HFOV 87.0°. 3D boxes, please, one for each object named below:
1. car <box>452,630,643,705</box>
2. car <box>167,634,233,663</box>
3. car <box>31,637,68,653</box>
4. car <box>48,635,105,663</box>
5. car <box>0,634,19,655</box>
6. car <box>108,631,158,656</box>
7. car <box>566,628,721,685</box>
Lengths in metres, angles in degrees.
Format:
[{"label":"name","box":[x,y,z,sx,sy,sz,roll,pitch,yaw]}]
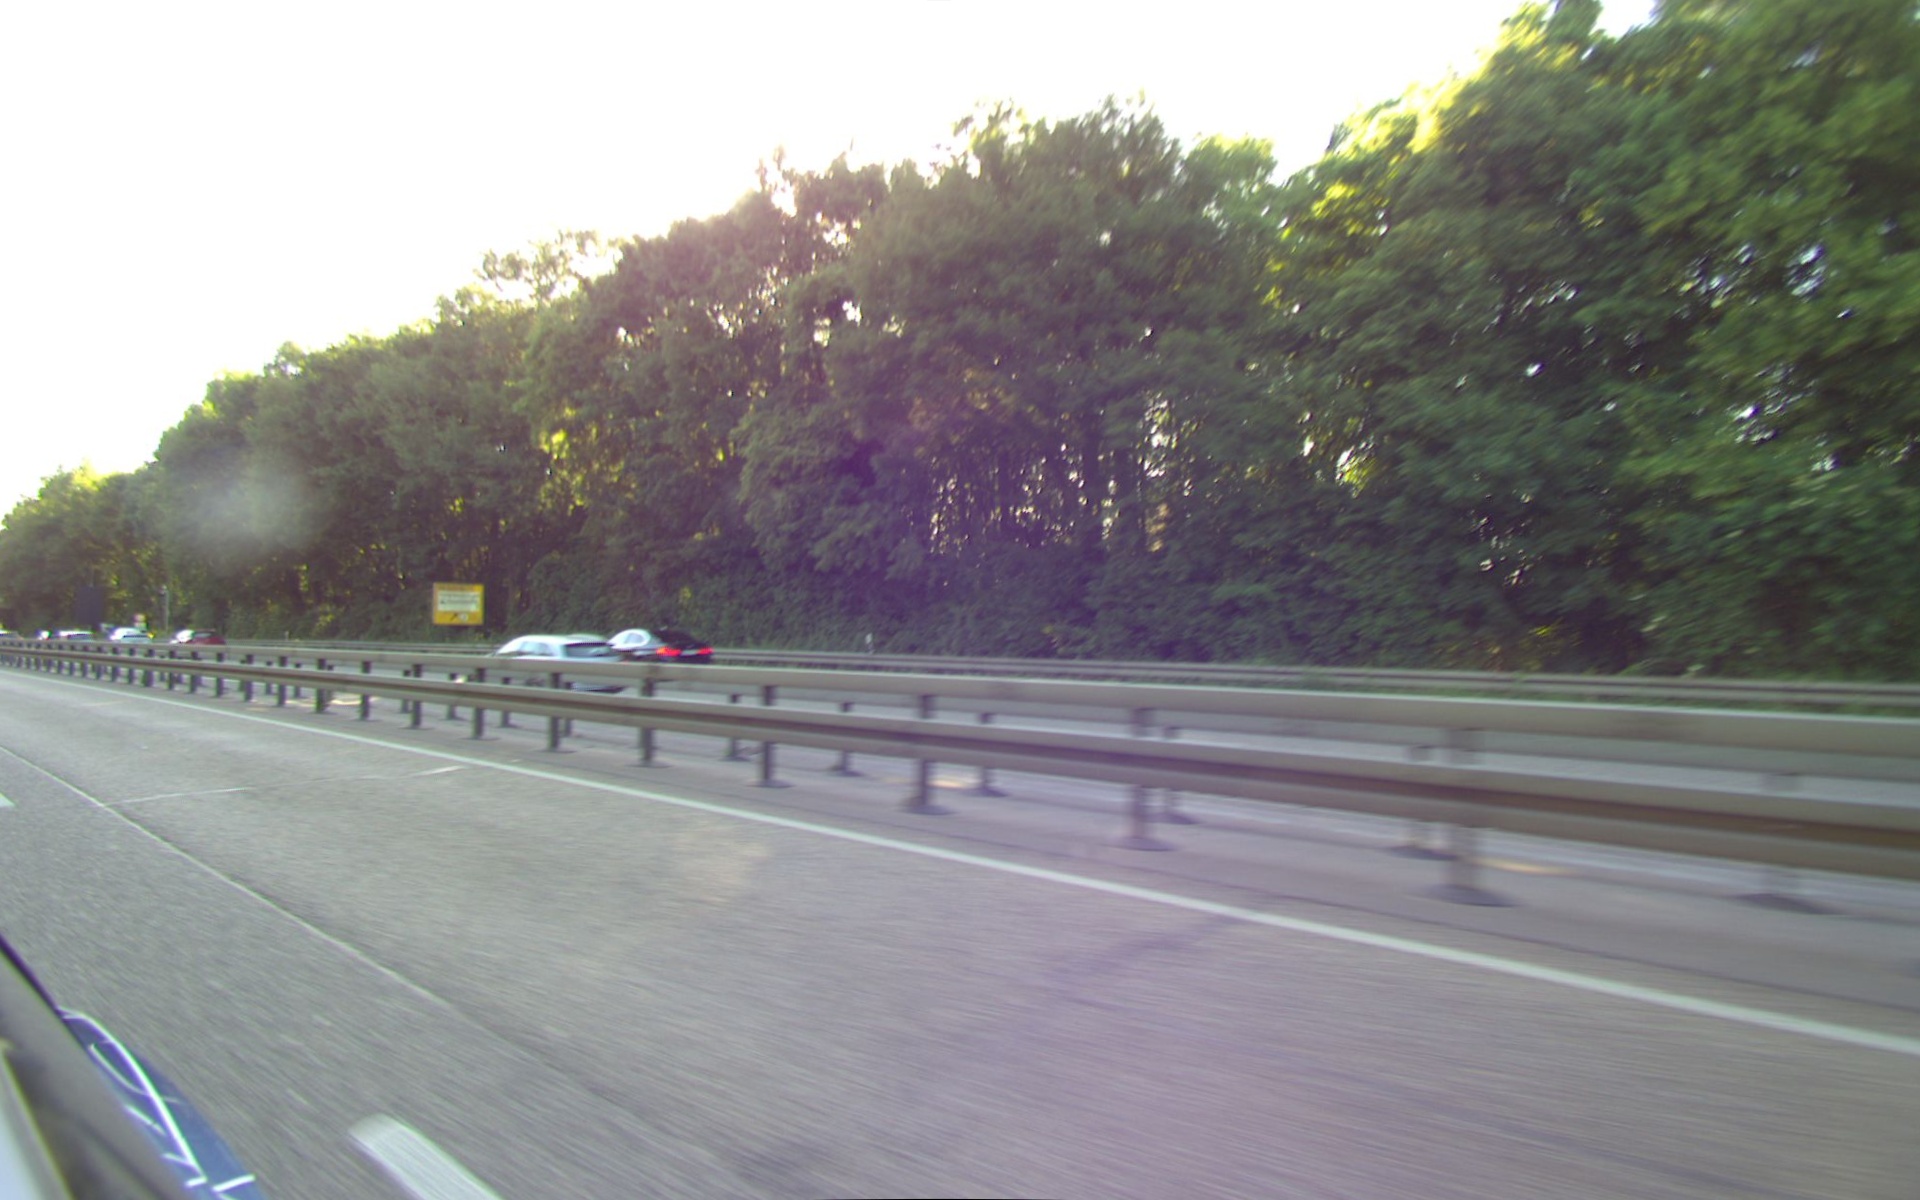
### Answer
[{"label":"car","box":[-9.181,1.438,22.346,4.738,1.475,1.972,-2,-4,41]},{"label":"car","box":[-40.120,2.553,53.424,3.998,1.475,1.972,-2,-4,41]},{"label":"car","box":[-85.764,4.236,95.350,3.996,1.497,1.973,-1,-4,40]},{"label":"car","box":[-48.888,2.708,55.983,4.093,1.383,1.707,1,-2,40]},{"label":"car","box":[-67.536,3.115,71.127,4.096,1.479,1.705,-2,-4,43]},{"label":"car","box":[-57.459,3.033,70.275,4.789,1.635,1.972,-2,-4,43]},{"label":"car","box":[-9.137,1.590,29.044,4.900,1.475,1.972,-2,-4,41]}]
